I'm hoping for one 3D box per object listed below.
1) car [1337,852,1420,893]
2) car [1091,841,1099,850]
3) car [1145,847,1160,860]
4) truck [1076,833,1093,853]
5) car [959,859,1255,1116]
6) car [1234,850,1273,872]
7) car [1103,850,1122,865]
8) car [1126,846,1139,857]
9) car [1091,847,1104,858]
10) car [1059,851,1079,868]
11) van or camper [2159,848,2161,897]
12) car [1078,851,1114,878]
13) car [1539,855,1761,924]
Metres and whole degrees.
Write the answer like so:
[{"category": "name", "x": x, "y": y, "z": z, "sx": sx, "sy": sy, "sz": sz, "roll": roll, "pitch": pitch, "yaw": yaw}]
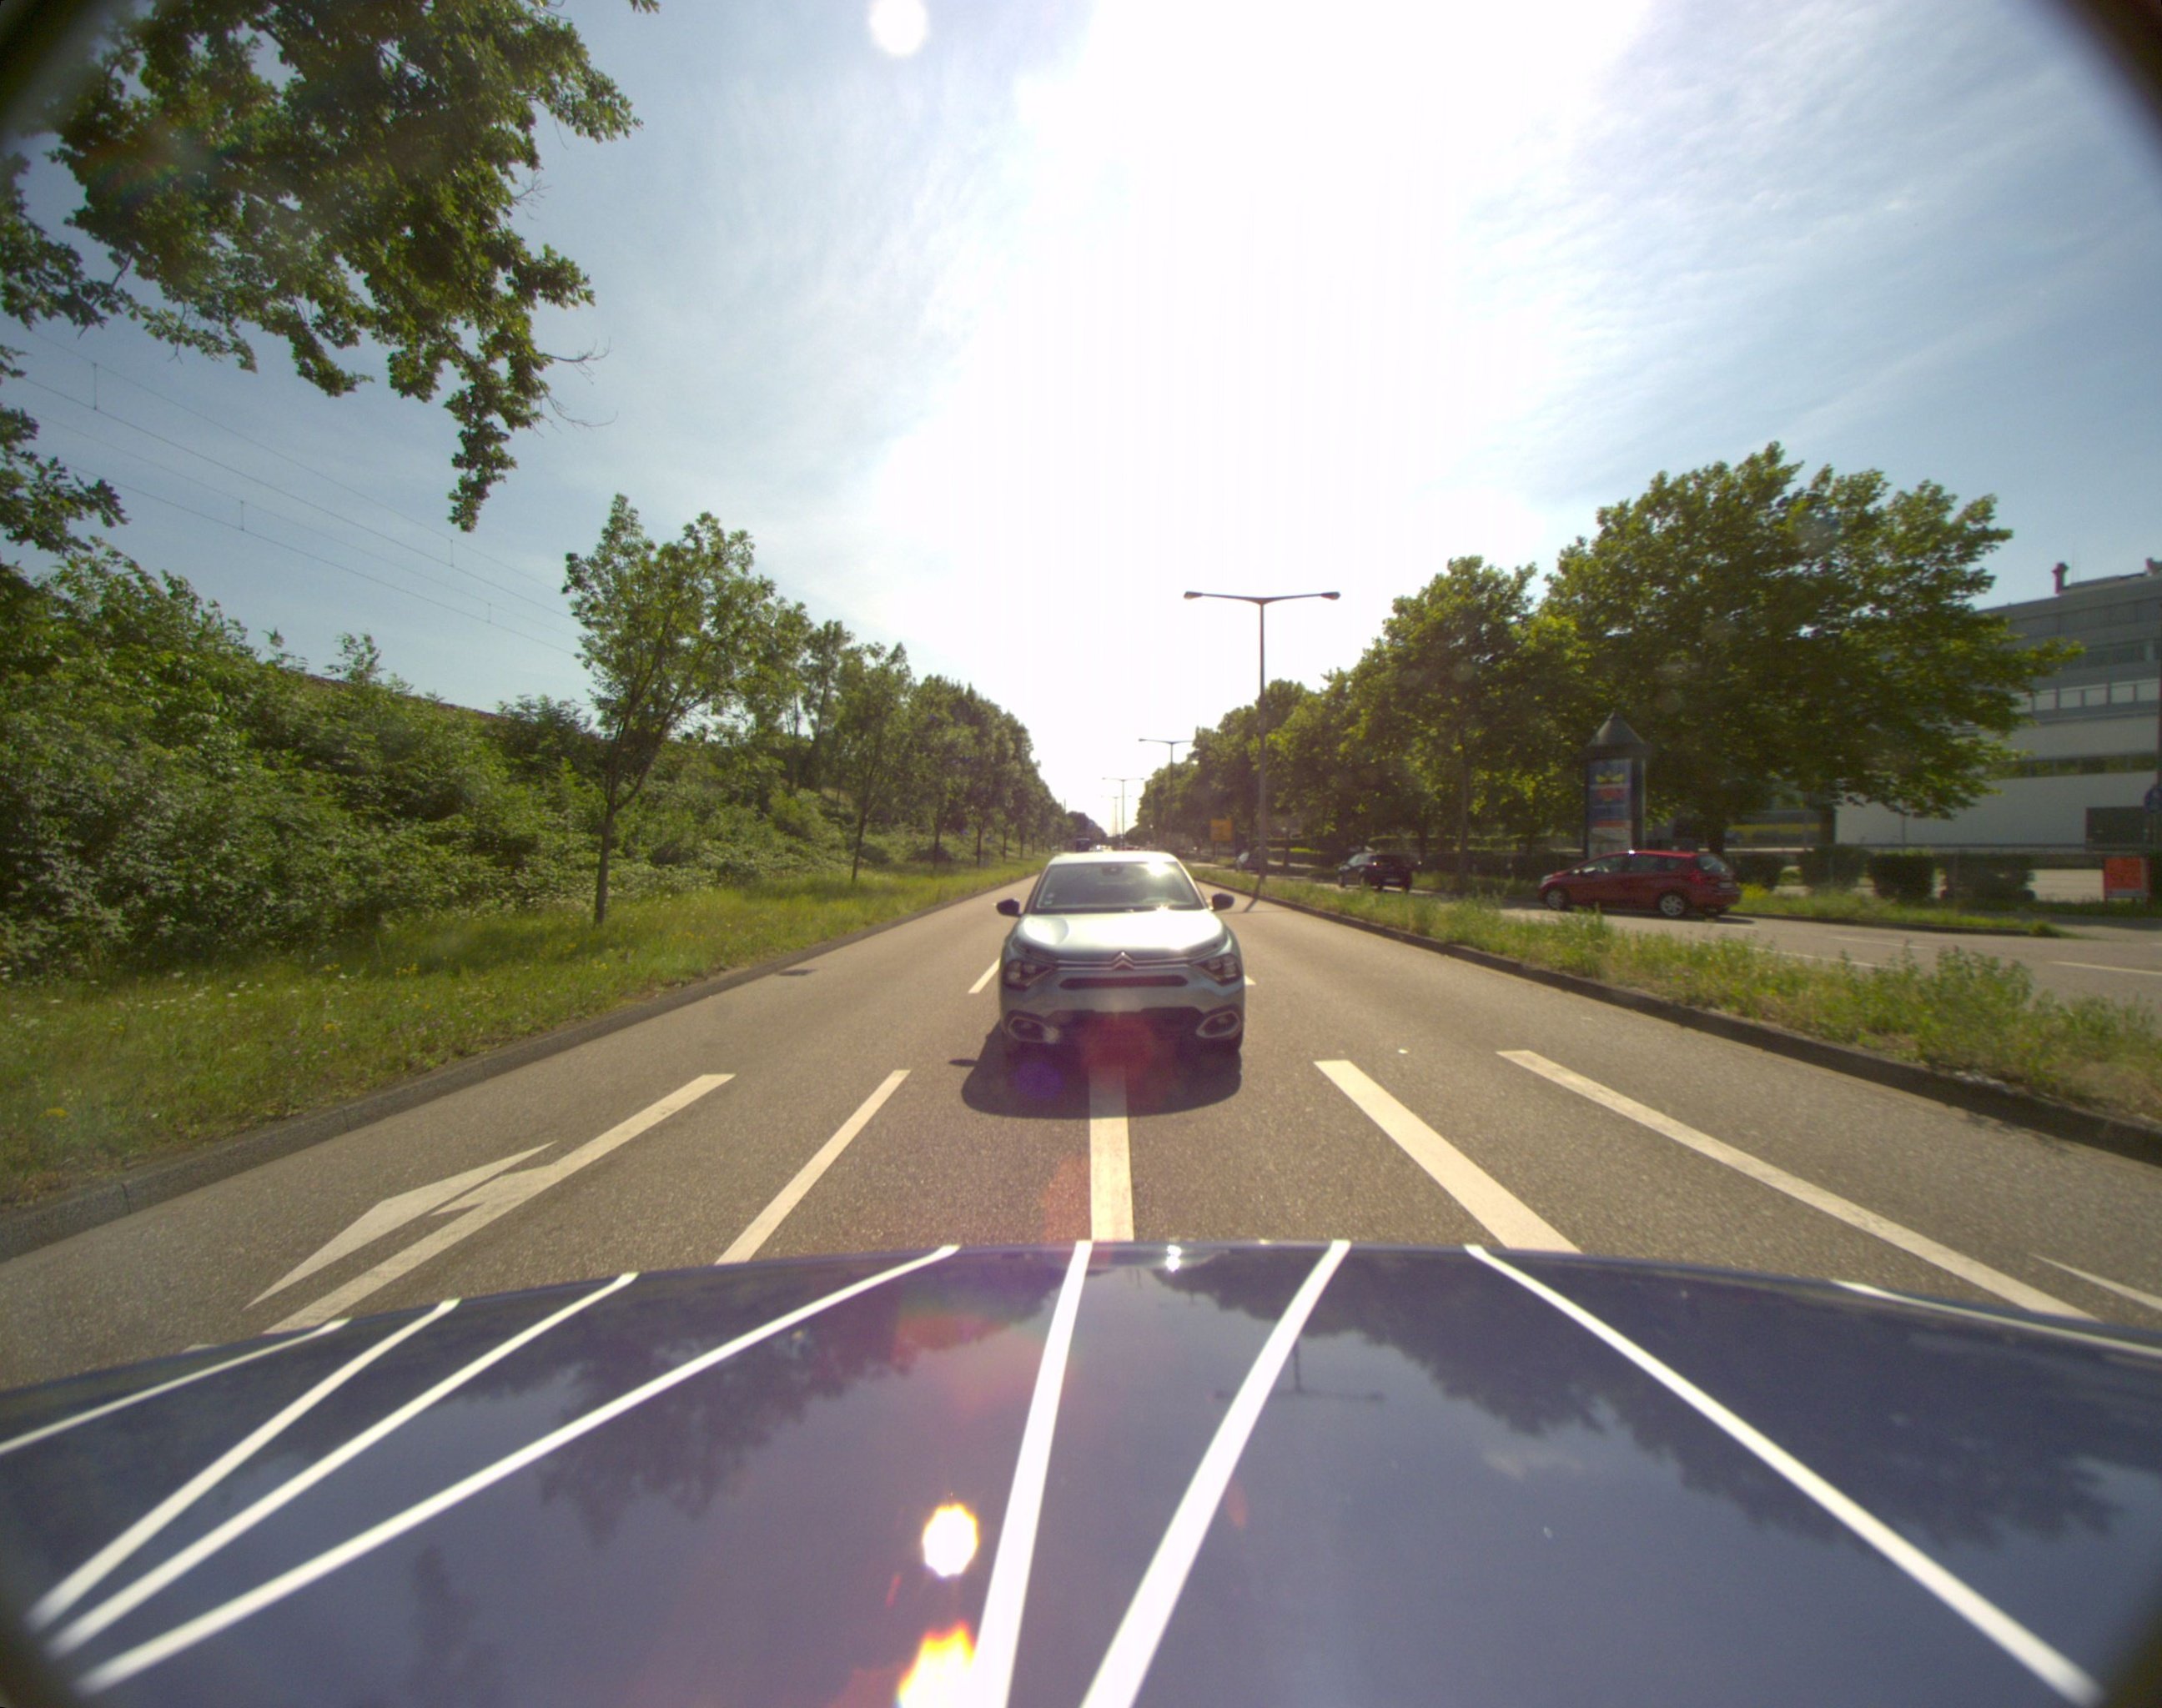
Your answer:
[{"category": "car", "x": 11.512, "y": 0.668, "z": 29.676, "sx": 1.843, "sy": 1.414, "sz": 3.895, "roll": 1, "pitch": 1, "yaw": 3}, {"category": "car", "x": 3.249, "y": -1.949, "z": 177.097, "sx": 1.998, "sy": 2.002, "sz": 4.000, "roll": -1, "pitch": 1, "yaw": 1}, {"category": "car", "x": 11.434, "y": -0.111, "z": 121.723, "sx": 1.998, "sy": 2.002, "sz": 4.000, "roll": -1, "pitch": 1, "yaw": 1}, {"category": "truck", "x": 0.617, "y": -1.896, "z": 129.233, "sx": 2.775, "sy": 3.248, "sz": 7.482, "roll": 0, "pitch": 1, "yaw": 1}, {"category": "car", "x": 0.247, "y": 0.857, "z": 7.096, "sx": 1.826, "sy": 1.521, "sz": 4.752, "roll": -1, "pitch": 0, "yaw": 2}, {"category": "car", "x": 12.372, "y": 0.474, "z": 54.678, "sx": 1.844, "sy": 1.414, "sz": 4.221, "roll": 1, "pitch": 0, "yaw": 0}, {"category": "car", "x": 3.211, "y": 0.355, "z": 77.435, "sx": 1.730, "sy": 1.354, "sz": 4.067, "roll": -2, "pitch": 1, "yaw": 0}, {"category": "car", "x": 9.143, "y": -0.458, "z": 135.477, "sx": 1.998, "sy": 2.002, "sz": 4.000, "roll": -1, "pitch": 1, "yaw": 1}, {"category": "car", "x": 2.291, "y": -0.259, "z": 104.820, "sx": 1.826, "sy": 1.521, "sz": 4.547, "roll": -1, "pitch": 0, "yaw": 2}, {"category": "car", "x": -1.142, "y": 0.482, "z": 69.244, "sx": 1.705, "sy": 1.429, "sz": 3.677, "roll": -2, "pitch": 1, "yaw": -2}, {"category": "van or camper", "x": 39.496, "y": 0.623, "z": 25.038, "sx": 2.004, "sy": 1.682, "sz": 4.500, "roll": -1, "pitch": 1, "yaw": -37}, {"category": "car", "x": 0.872, "y": 0.578, "z": 44.522, "sx": 1.998, "sy": 1.492, "sz": 4.000, "roll": -1, "pitch": 0, "yaw": 1}, {"category": "car", "x": 13.240, "y": 0.756, "z": 17.934, "sx": 1.856, "sy": 1.426, "sz": 3.759, "roll": 1, "pitch": 0, "yaw": -25}]
